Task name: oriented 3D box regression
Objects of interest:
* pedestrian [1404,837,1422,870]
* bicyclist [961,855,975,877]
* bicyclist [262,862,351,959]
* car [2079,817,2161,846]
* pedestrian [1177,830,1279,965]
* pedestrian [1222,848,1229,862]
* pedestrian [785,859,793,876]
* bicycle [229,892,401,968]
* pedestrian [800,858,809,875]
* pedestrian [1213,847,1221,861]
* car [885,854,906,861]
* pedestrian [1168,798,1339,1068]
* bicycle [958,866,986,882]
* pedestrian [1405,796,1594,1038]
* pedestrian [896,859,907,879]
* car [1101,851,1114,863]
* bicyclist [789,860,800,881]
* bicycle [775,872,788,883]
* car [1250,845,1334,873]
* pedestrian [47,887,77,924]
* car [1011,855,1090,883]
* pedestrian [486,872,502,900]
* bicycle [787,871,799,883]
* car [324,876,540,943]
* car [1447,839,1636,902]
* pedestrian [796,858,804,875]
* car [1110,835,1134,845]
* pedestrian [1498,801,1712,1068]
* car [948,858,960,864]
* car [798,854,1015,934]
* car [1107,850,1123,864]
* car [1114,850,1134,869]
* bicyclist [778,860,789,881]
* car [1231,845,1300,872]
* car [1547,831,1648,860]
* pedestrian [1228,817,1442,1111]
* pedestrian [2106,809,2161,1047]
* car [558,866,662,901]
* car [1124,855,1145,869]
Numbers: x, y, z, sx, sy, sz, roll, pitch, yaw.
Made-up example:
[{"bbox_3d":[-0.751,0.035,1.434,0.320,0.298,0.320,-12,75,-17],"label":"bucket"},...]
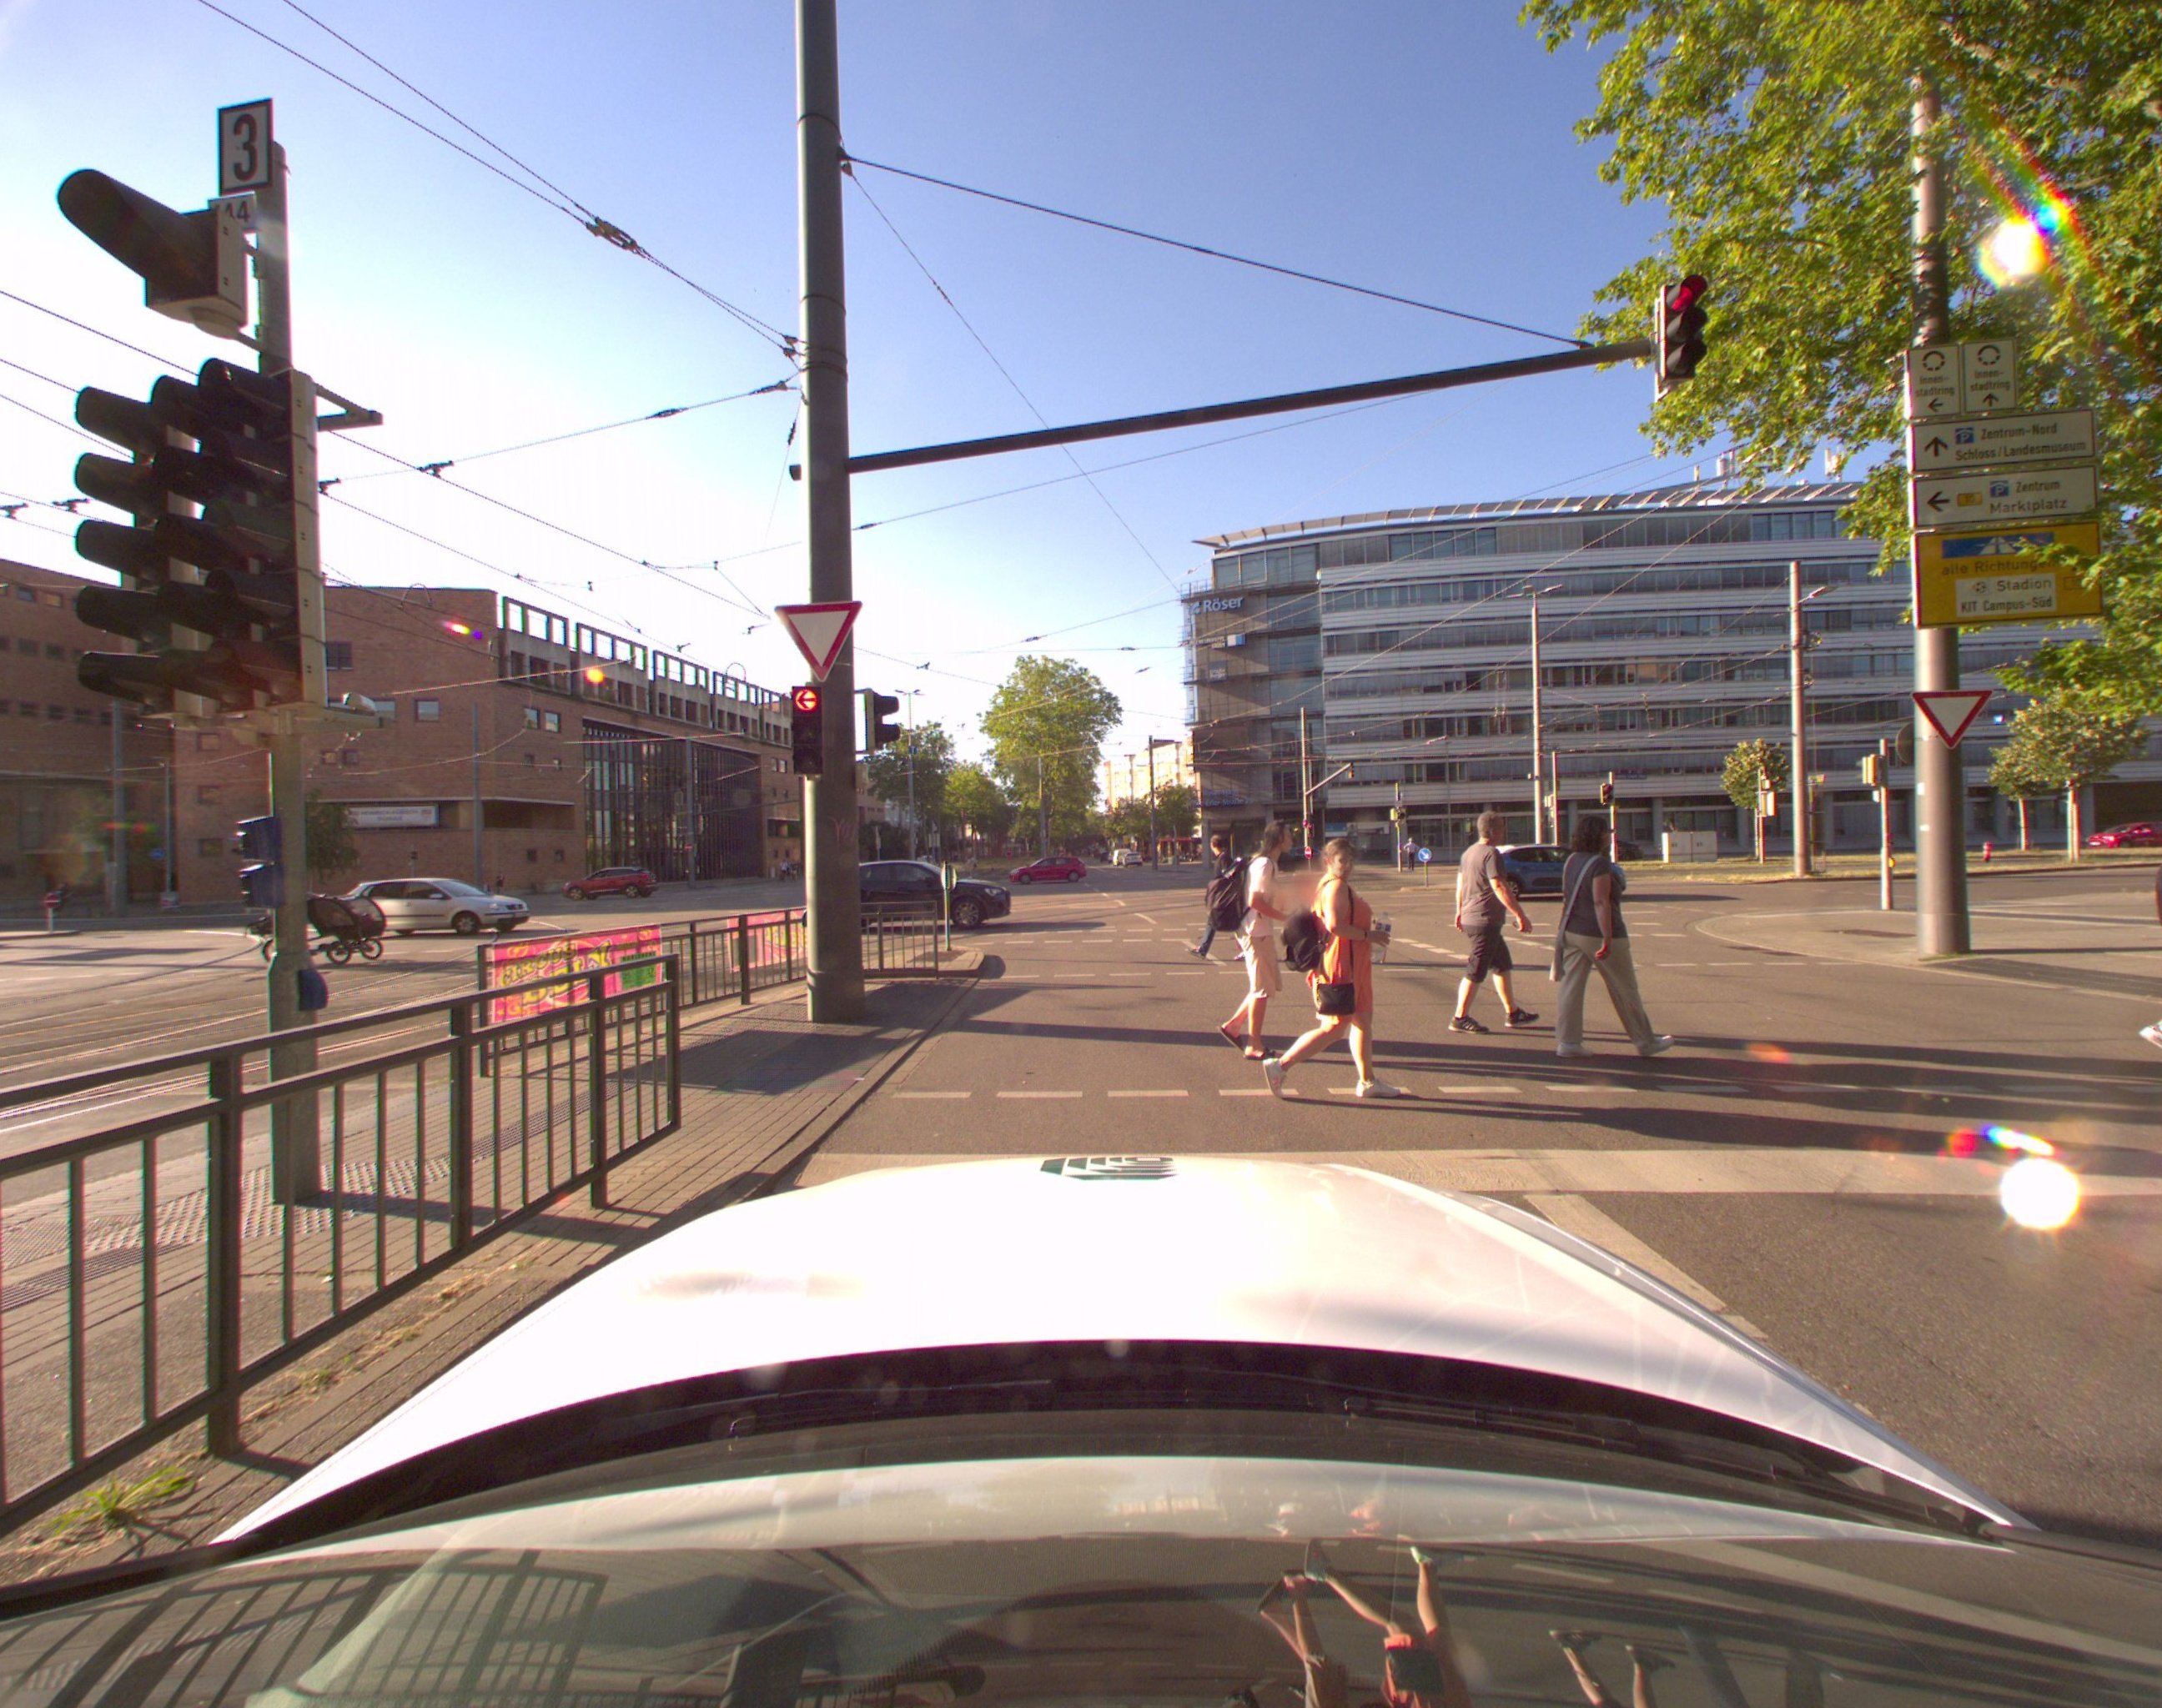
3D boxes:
[{"bbox_3d":[17.307,-0.032,42.470,0.715,1.681,0.558,-1,0,9],"label":"pedestrian"},{"bbox_3d":[-7.146,0.770,51.514,0.819,1.366,0.399,-2,0,-11],"label":"bicyclist"},{"bbox_3d":[-13.990,1.004,14.724,0.900,1.681,0.692,-2,0,5],"label":"bicyclist"},{"bbox_3d":[58.089,-1.239,44.929,3.576,1.466,1.799,-2,0,7],"label":"car"},{"bbox_3d":[2.067,0.588,11.607,1.206,1.822,1.040,0,-1,-4],"label":"pedestrian"},{"bbox_3d":[15.607,0.137,88.169,0.701,1.465,0.385,-2,0,11],"label":"pedestrian"},{"bbox_3d":[-31.201,1.464,87.019,0.487,1.810,0.547,-2,0,9],"label":"pedestrian"},{"bbox_3d":[-13.829,1.359,14.749,2.147,1.226,1.074,-1,1,5],"label":"bicycle"},{"bbox_3d":[-29.911,1.365,88.058,0.637,1.810,0.547,-2,0,9],"label":"pedestrian"},{"bbox_3d":[14.775,-0.003,88.434,0.734,1.465,0.538,-2,0,11],"label":"pedestrian"},{"bbox_3d":[-39.509,0.736,173.446,4.011,1.552,1.592,0,-1,-30],"label":"car"},{"bbox_3d":[1.252,0.548,6.064,1.072,1.871,0.737,0,-1,-6],"label":"pedestrian"},{"bbox_3d":[-6.904,1.268,51.561,1.742,0.899,0.407,-2,0,-12],"label":"bicycle"},{"bbox_3d":[3.478,0.496,6.852,1.143,1.894,0.831,0,-1,-6],"label":"pedestrian"},{"bbox_3d":[-13.975,1.171,63.429,0.753,1.530,0.507,-1,0,-6],"label":"pedestrian"},{"bbox_3d":[4.117,0.473,126.999,1.986,1.662,4.002,-2,0,2],"label":"car"},{"bbox_3d":[-23.514,1.346,66.763,0.592,1.675,0.788,-2,0,-4],"label":"bicyclist"},{"bbox_3d":[-24.425,1.911,66.418,0.512,0.881,1.835,-2,0,-6],"label":"bicycle"},{"bbox_3d":[12.034,0.270,46.533,4.238,1.434,1.790,-2,0,-8],"label":"car"},{"bbox_3d":[-45.819,2.310,36.626,0.542,1.613,0.613,0,1,-3],"label":"pedestrian"},{"bbox_3d":[-1.748,0.823,45.347,4.236,1.392,1.791,-2,0,-7],"label":"car"},{"bbox_3d":[-35.351,1.920,49.064,0.538,1.613,0.575,-2,0,33],"label":"pedestrian"},{"bbox_3d":[-23.604,1.861,66.704,0.512,0.881,1.835,-2,0,-6],"label":"bicycle"},{"bbox_3d":[-16.369,1.373,20.724,3.900,1.434,1.823,-2,0,-4],"label":"car"},{"bbox_3d":[12.232,0.418,21.825,3.943,1.456,1.999,-2,0,-2],"label":"car"},{"bbox_3d":[-29.863,1.326,86.637,0.519,1.779,0.547,-2,0,9],"label":"pedestrian"},{"bbox_3d":[7.134,-2.389,141.513,3.732,1.750,1.789,0,-1,16],"label":"car"},{"bbox_3d":[3.780,0.545,5.946,1.070,1.806,0.756,0,-1,-6],"label":"pedestrian"},{"bbox_3d":[-34.152,1.791,218.760,1.982,1.508,4.011,-2,0,9],"label":"car"},{"bbox_3d":[-3.820,0.858,18.438,4.469,1.583,1.824,-2,0,-2],"label":"car"},{"bbox_3d":[4.372,0.348,105.261,1.986,1.662,4.002,-2,0,2],"label":"car"},{"bbox_3d":[4.729,0.595,89.925,1.986,1.991,4.002,-2,0,2],"label":"car"},{"bbox_3d":[-24.282,1.348,66.526,0.592,1.675,0.788,-2,0,-4],"label":"bicyclist"},{"bbox_3d":[11.493,0.274,50.913,3.854,1.507,1.792,-2,0,-5],"label":"car"},{"bbox_3d":[27.640,-0.441,43.673,4.219,1.392,1.799,-2,0,6],"label":"car"},{"bbox_3d":[1.550,0.631,5.111,1.071,1.682,0.756,0,-1,-6],"label":"pedestrian"},{"bbox_3d":[8.319,0.524,5.866,1.070,1.715,0.628,-1,-1,-2],"label":"pedestrian"},{"bbox_3d":[-24.420,1.517,42.364,4.240,1.602,1.790,-2,0,-9],"label":"car"},{"bbox_3d":[5.420,0.796,83.064,1.986,1.332,4.002,-2,0,2],"label":"car"}]
